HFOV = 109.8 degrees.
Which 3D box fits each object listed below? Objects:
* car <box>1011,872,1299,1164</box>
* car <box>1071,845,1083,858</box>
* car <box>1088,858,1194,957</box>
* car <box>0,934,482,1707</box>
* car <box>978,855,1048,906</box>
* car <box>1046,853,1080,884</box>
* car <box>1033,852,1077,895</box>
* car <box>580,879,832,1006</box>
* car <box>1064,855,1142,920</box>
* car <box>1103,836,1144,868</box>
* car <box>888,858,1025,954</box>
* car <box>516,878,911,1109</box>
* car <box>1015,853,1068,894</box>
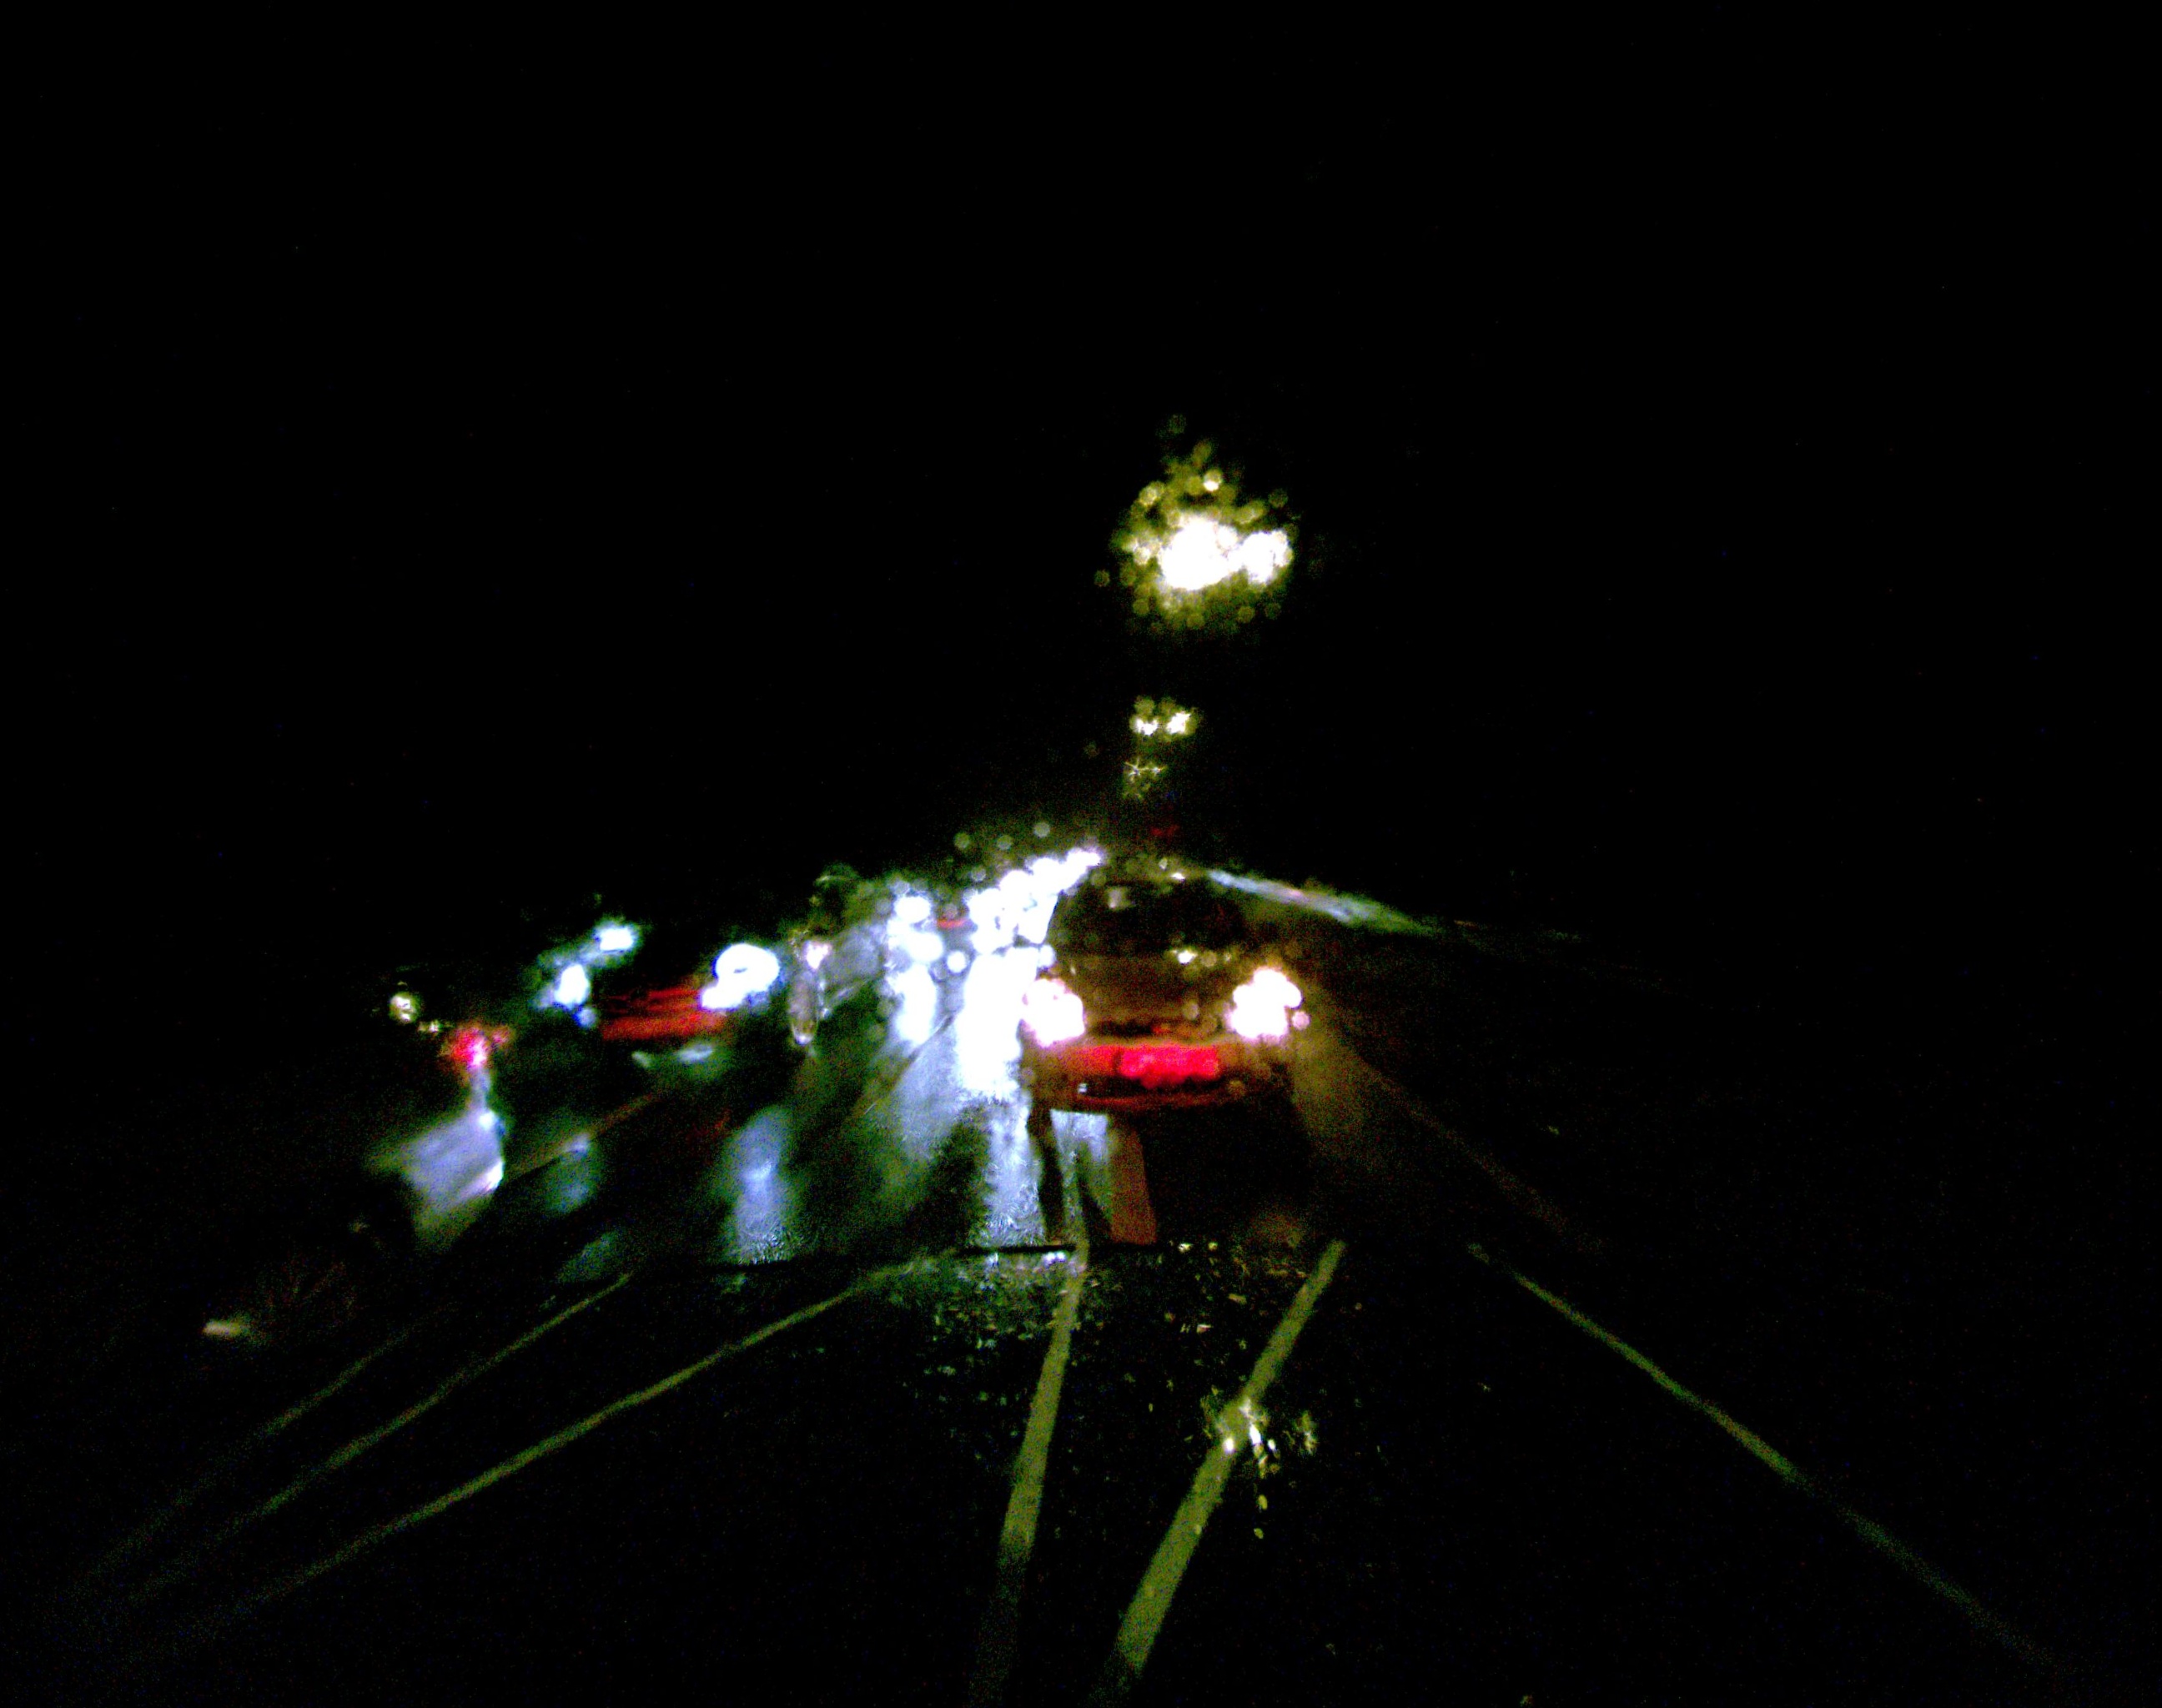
[{"bbox_3d":[0.425,0.934,5.821,1.497,1.416,3.389,-3,1,1],"label":"car"},{"bbox_3d":[-0.690,-0.453,129.471,1.998,2.002,3.999,-1,1,0],"label":"car"},{"bbox_3d":[0.976,0.866,13.833,1.606,1.417,3.389,-4,1,1],"label":"car"},{"bbox_3d":[-3.081,1.098,0.512,1.711,1.513,4.414,-2,1,1],"label":"car"},{"bbox_3d":[-2.307,0.872,26.877,1.998,1.589,4.391,-1,1,1],"label":"car"},{"bbox_3d":[-1.095,0.868,47.783,1.998,1.789,4.000,-1,0,1],"label":"car"},{"bbox_3d":[-1.293,0.968,39.634,1.998,2.002,3.999,-2,1,1],"label":"car"},{"bbox_3d":[-5.967,1.311,12.830,1.998,1.472,4.337,-4,1,0],"label":"car"},{"bbox_3d":[0.576,0.833,20.634,1.838,1.417,3.698,-4,1,1],"label":"car"},{"bbox_3d":[2.261,-0.111,41.108,1.998,1.574,3.999,-2,1,1],"label":"car"},{"bbox_3d":[-2.341,0.931,15.540,1.998,1.589,4.391,-1,1,1],"label":"car"},{"bbox_3d":[-3.085,1.069,7.494,1.743,1.409,4.139,-2,1,1],"label":"car"},{"bbox_3d":[-1.624,0.790,32.967,1.998,1.589,4.391,-1,1,1],"label":"car"}]
